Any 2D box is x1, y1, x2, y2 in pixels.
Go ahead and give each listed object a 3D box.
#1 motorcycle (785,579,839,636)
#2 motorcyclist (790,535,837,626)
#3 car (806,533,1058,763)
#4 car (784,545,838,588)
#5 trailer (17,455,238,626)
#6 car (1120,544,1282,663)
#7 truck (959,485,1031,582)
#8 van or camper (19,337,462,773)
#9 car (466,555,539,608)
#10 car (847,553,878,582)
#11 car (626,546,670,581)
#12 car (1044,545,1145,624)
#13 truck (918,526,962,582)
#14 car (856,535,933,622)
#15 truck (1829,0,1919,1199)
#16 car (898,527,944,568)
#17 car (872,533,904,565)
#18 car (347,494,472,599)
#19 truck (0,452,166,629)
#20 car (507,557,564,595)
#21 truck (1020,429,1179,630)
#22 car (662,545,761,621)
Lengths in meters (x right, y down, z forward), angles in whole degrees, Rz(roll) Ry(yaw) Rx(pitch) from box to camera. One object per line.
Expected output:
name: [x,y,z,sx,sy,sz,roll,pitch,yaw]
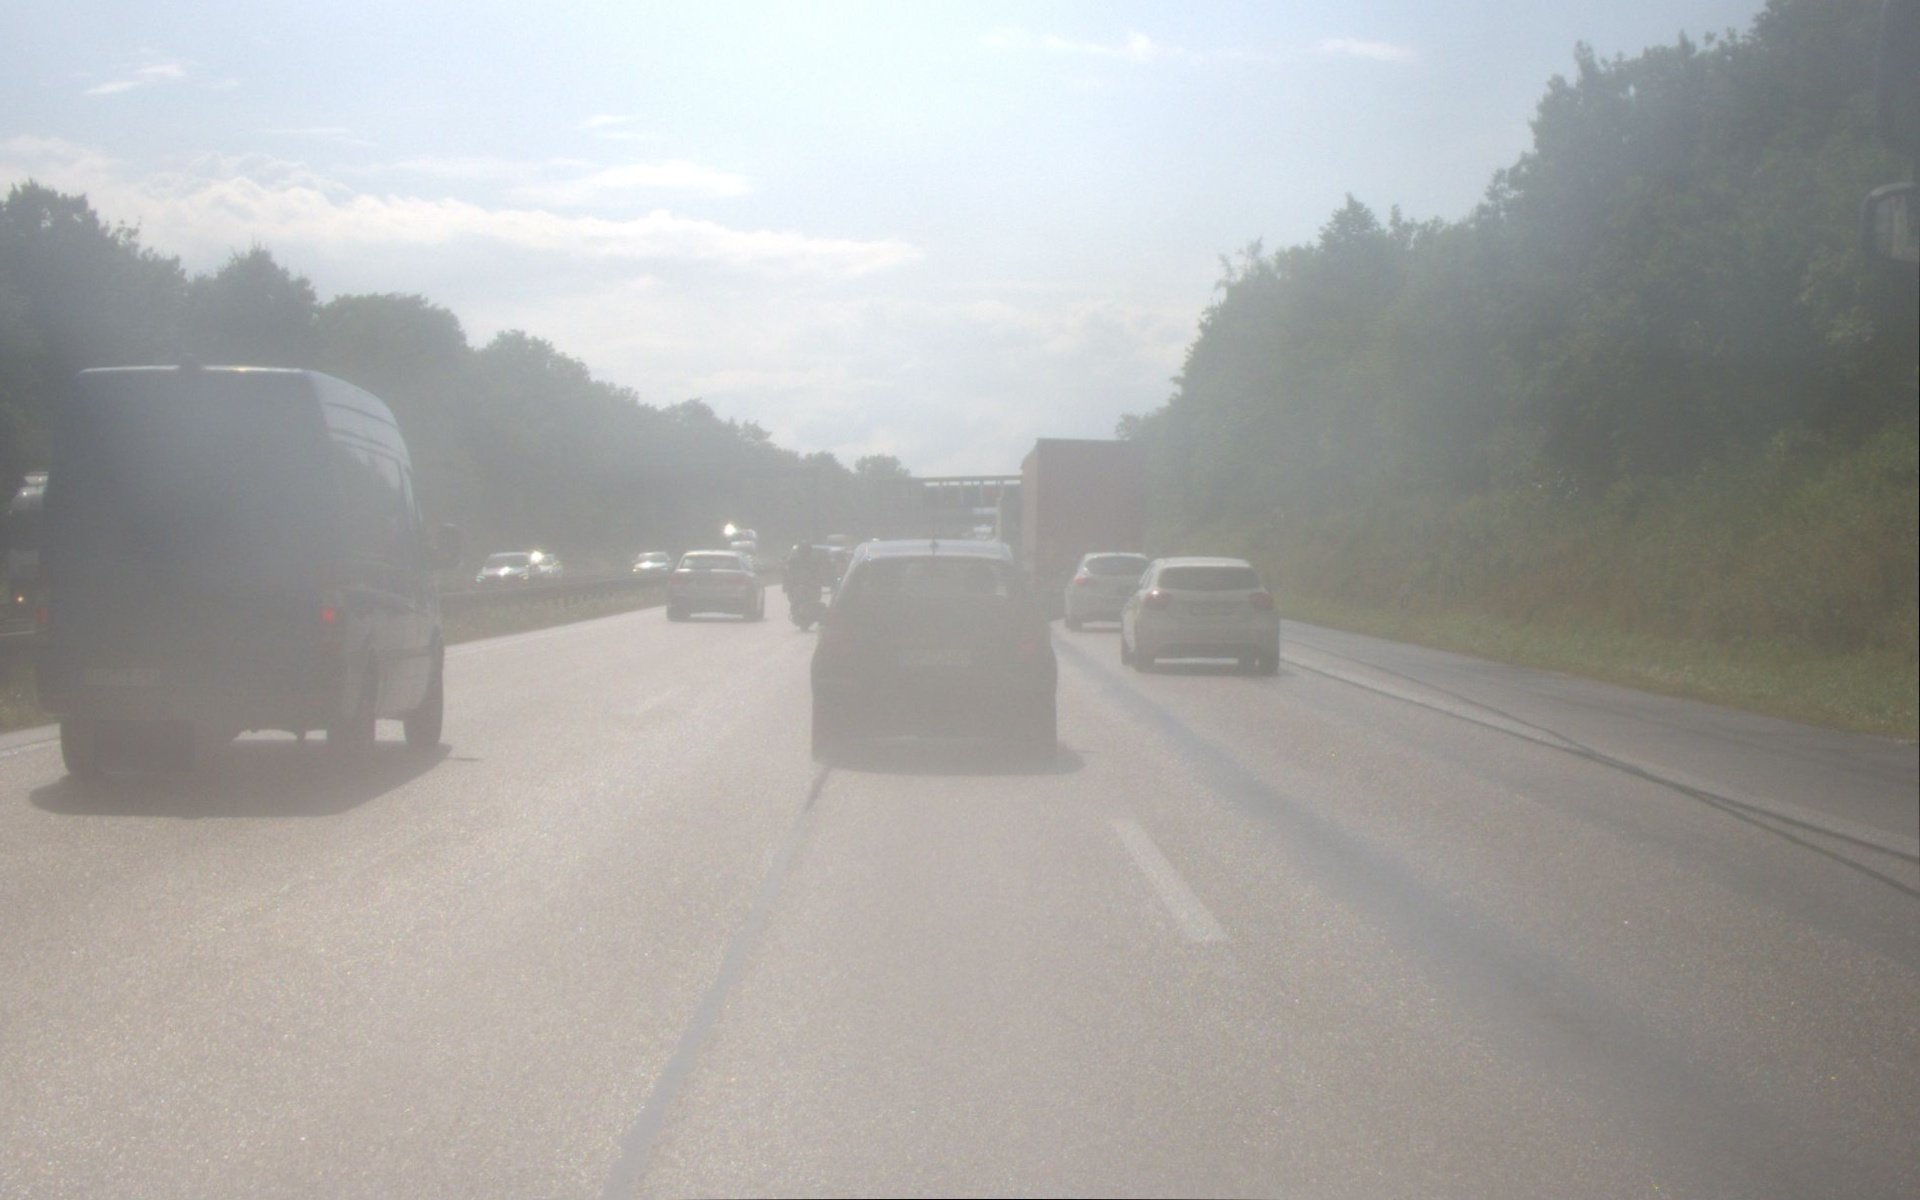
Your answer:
motorcycle: [-2.691,0.122,62.850,0.890,0.997,2.896,1,1,-1]
motorcyclist: [-2.669,-0.359,62.800,0.801,1.627,1.013,1,1,-1]
car: [-0.217,0.312,25.438,1.717,1.562,3.485,1,1,-1]
car: [-5.142,-1.170,119.163,1.751,1.452,3.390,1,1,-1]
trailer: [-22.864,-1.605,95.347,2.863,4.358,14.093,1,1,-1]
car: [3.027,0.019,43.848,1.692,1.420,4.220,1,1,-1]
truck: [1.710,-3.139,165.184,3.256,4.464,12.421,1,1,1]
van or camper: [-4.823,-0.311,23.859,1.993,2.659,5.385,1,1,-1]
car: [-14.890,-0.620,111.974,1.837,1.657,4.441,1,1,-1]
car: [-4.864,-1.633,172.296,1.485,1.385,3.198,1,1,-1]
car: [-14.848,-1.749,163.804,1.731,1.657,4.236,1,1,-1]
car: [2.526,-0.304,65.185,1.680,1.437,3.905,1,1,-1]
truck: [-1.056,-2.378,177.639,2.192,2.865,4.850,1,1,-1]
car: [-1.337,-0.449,70.794,1.531,1.740,3.485,1,1,-1]
truck: [3.574,-0.517,4.913,2.606,3.982,7.291,1,1,-1]
car: [-1.364,-1.839,120.185,1.552,1.378,3.210,1,1,-1]
car: [-4.514,-3.227,216.616,1.993,2.007,4.000,-1,1,-1]
car: [-13.375,-1.298,83.893,2.183,2.444,5.748,1,1,-1]
truck: [-22.740,-1.525,88.937,2.863,4.358,6.869,1,1,-1]
car: [-18.993,-1.089,154.059,2.016,1.657,4.699,1,1,-1]
truck: [3.444,-1.778,89.736,3.650,4.704,16.779,1,1,1]
car: [-5.190,-0.368,72.226,1.854,1.546,3.485,1,1,-1]
